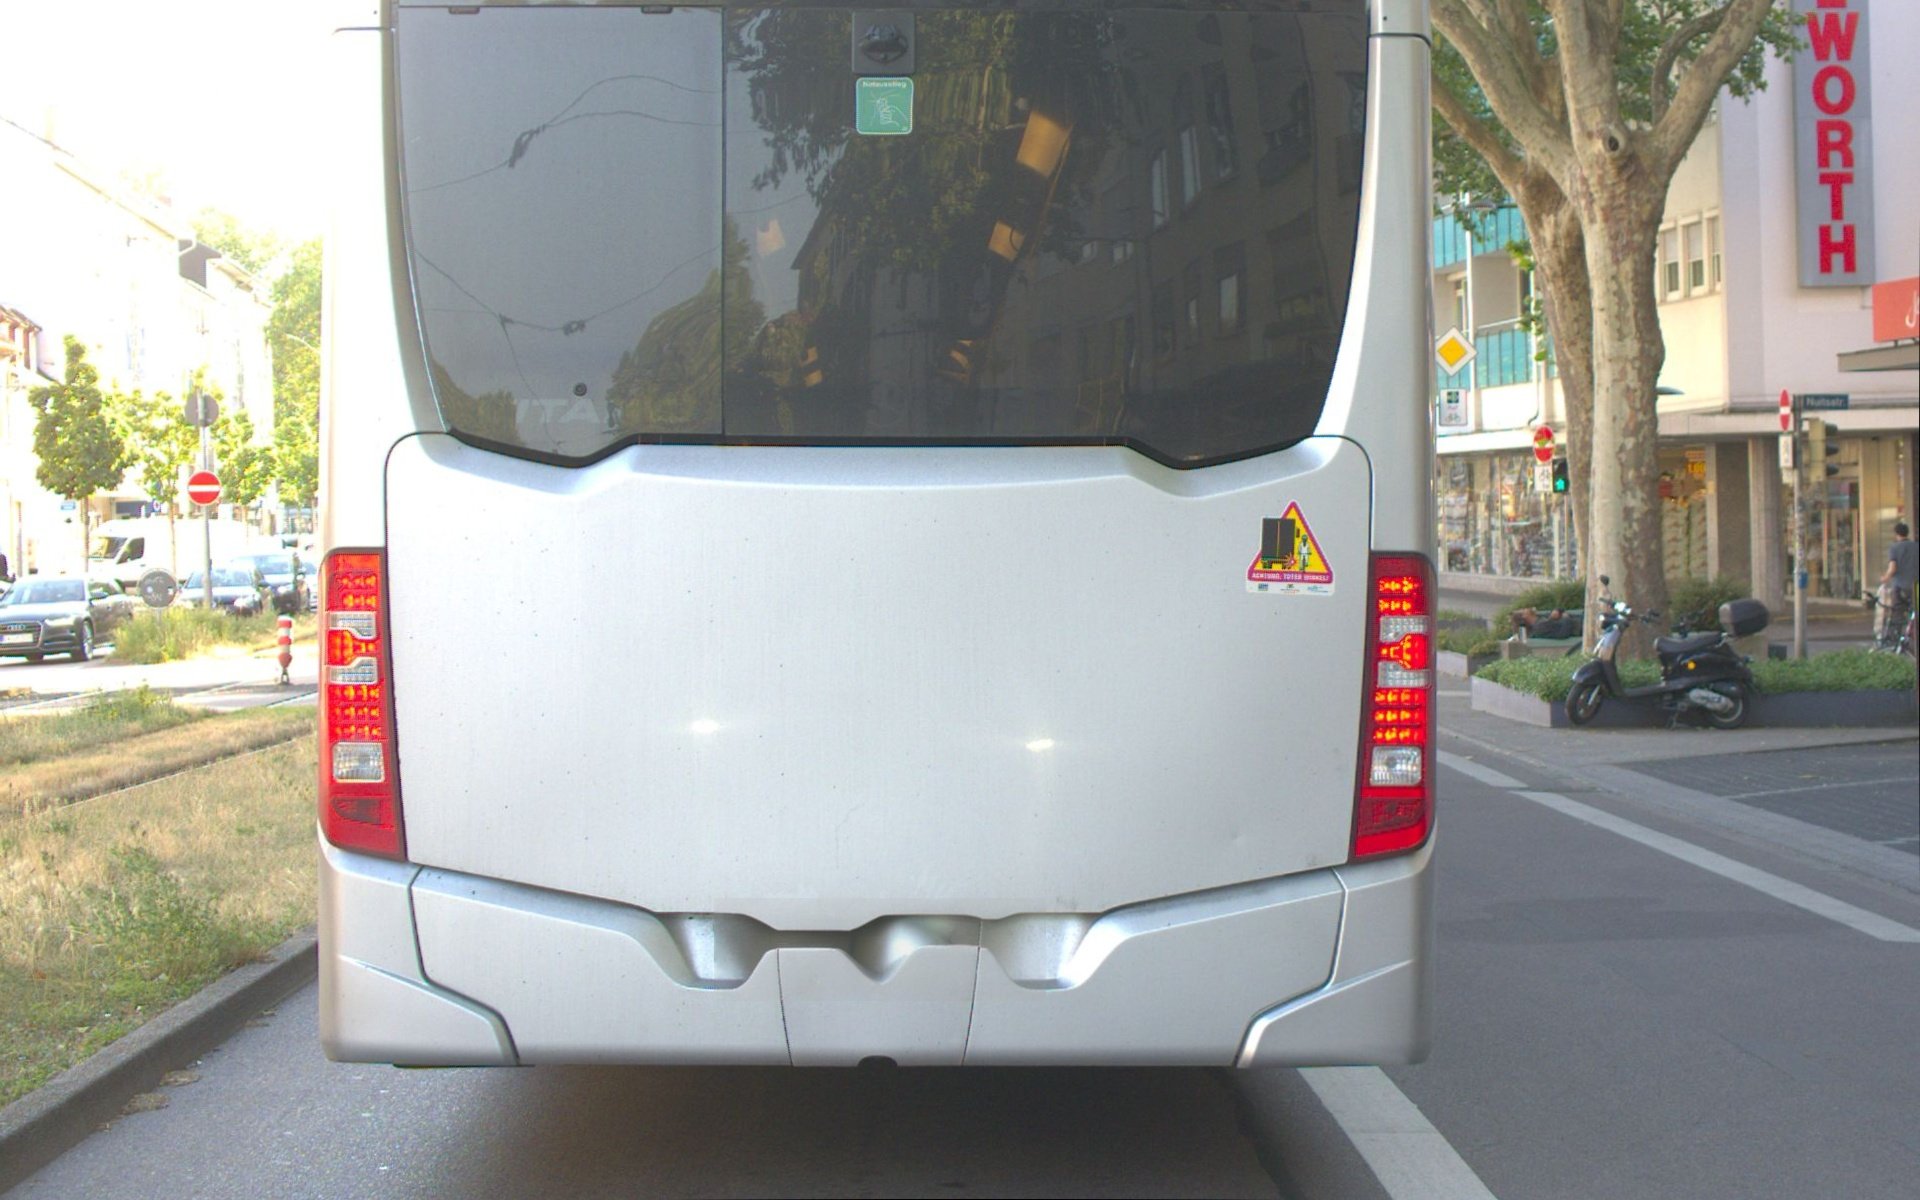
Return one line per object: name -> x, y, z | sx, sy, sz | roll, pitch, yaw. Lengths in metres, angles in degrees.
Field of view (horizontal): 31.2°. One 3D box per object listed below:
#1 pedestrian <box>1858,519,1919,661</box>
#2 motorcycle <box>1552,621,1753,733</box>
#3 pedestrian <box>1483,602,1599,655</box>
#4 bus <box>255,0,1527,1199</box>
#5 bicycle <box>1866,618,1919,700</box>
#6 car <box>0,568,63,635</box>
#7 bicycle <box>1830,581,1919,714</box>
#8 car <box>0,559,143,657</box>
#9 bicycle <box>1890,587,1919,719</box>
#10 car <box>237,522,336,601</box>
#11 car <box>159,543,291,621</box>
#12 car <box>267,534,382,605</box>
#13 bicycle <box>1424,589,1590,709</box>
pedestrian -> 12.027, -0.137, 44.118 | 0.780, 1.788, 0.764 | -1, 1, 0
motorcycle -> 5.884, 0.651, 29.255 | 1.570, 0.889, 0.544 | -1, 1, -3
pedestrian -> 6.788, 0.334, 40.174 | 1.254, 0.587, 0.482 | -1, 1, -2
bus -> -0.113, -0.177, 10.811 | 2.678, 3.073, 7.114 | 0, 1, 1
bicycle -> 9.839, 0.559, 33.503 | 1.877, 0.763, 0.711 | -1, 2, 8
car -> -21.783, 0.071, 73.637 | 4.538, 1.407, 2.000 | -2, 1, -36
bicycle -> 9.263, 0.407, 32.502 | 1.877, 1.185, 0.711 | -4, 0, 8
car -> -15.430, 0.113, 58.292 | 1.993, 1.554, 4.775 | -1, 1, 0
bicycle -> 9.541, 0.425, 31.492 | 1.785, 1.185, 0.672 | -4, 0, -8
car -> -17.730, -1.023, 90.674 | 1.993, 2.007, 4.001 | -1, 1, -3
car -> -15.644, -0.411, 73.363 | 1.780, 1.445, 4.044 | -3, 2, 2
car -> -15.173, -0.751, 82.240 | 1.780, 1.609, 4.508 | 1, 1, 2
bicycle -> 5.357, 0.481, 33.716 | 1.509, 1.101, 0.460 | 2, 1, 0
